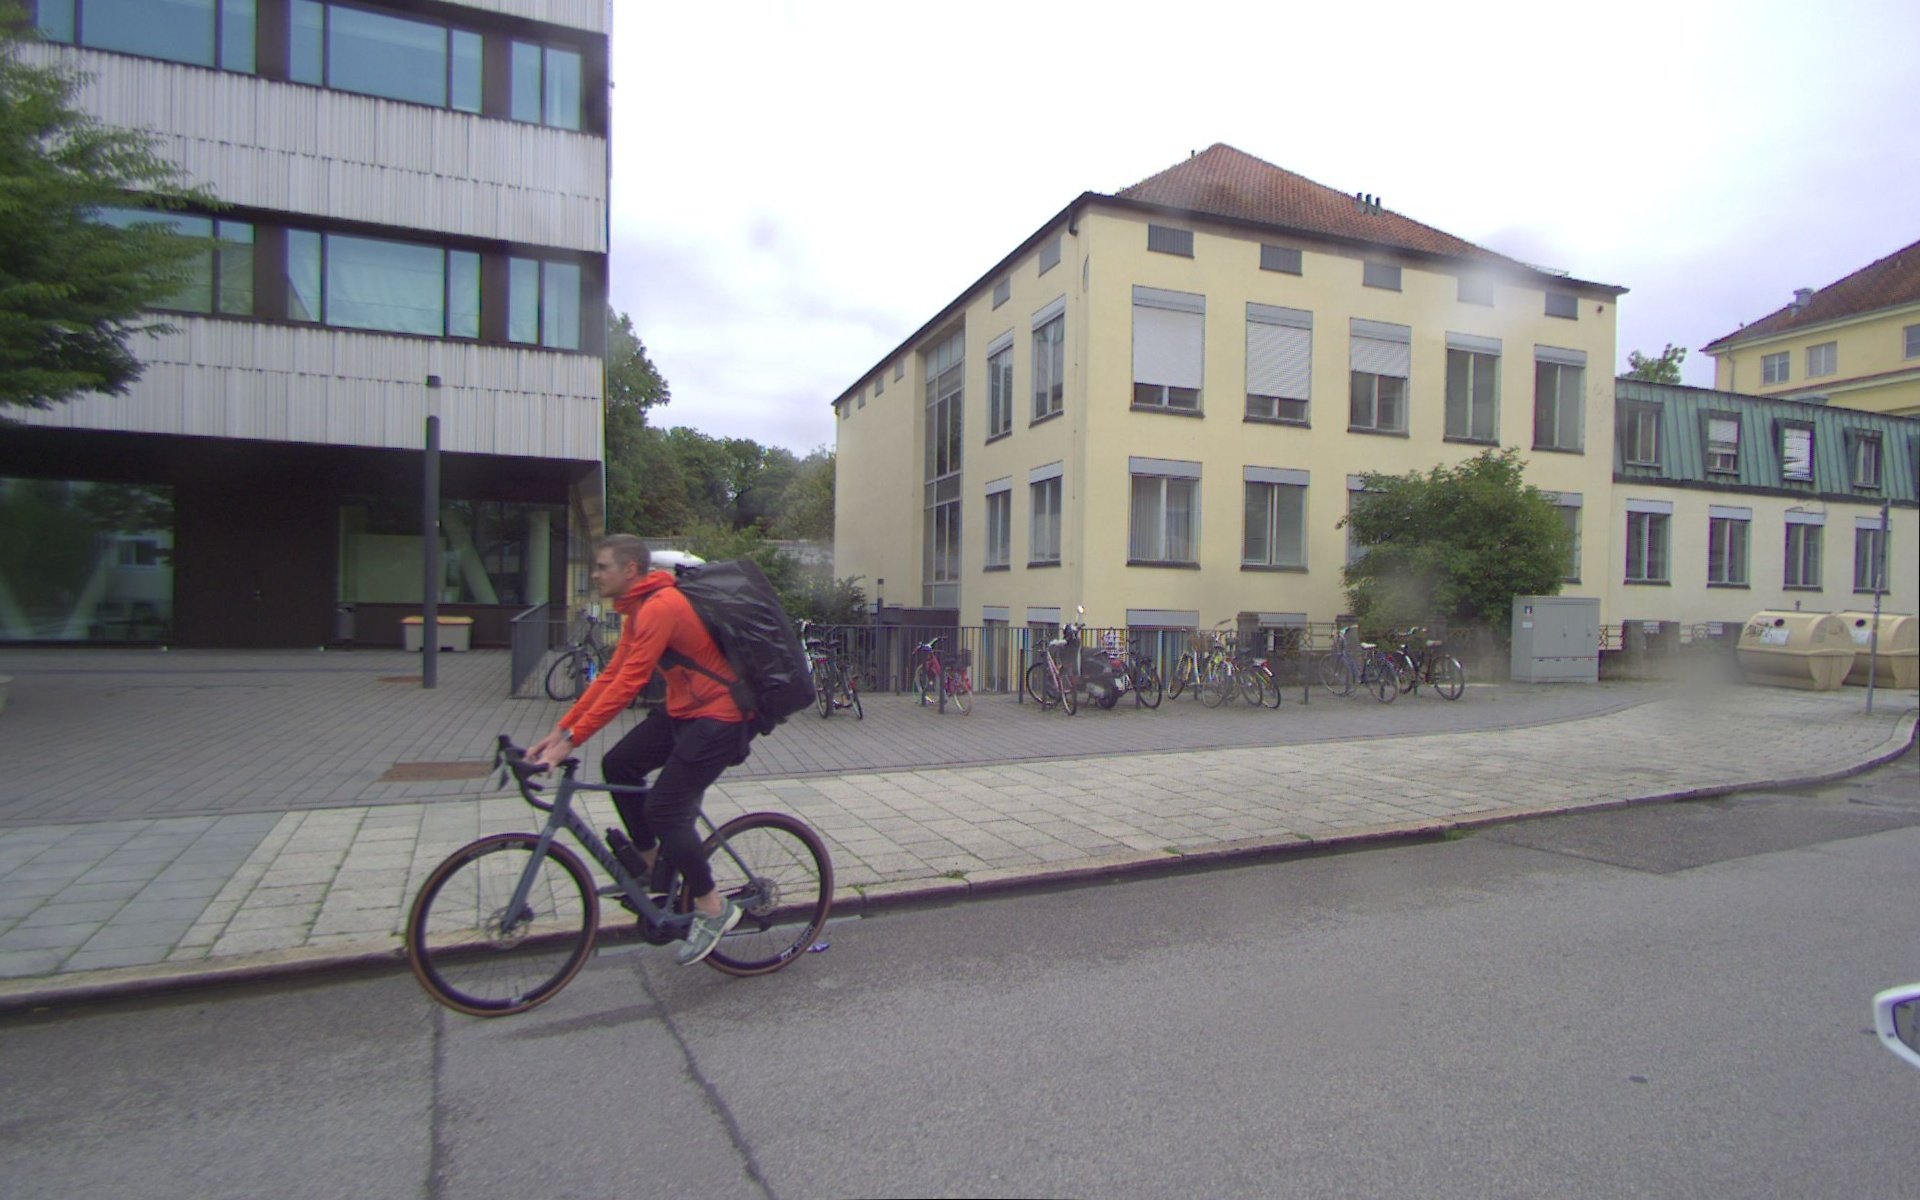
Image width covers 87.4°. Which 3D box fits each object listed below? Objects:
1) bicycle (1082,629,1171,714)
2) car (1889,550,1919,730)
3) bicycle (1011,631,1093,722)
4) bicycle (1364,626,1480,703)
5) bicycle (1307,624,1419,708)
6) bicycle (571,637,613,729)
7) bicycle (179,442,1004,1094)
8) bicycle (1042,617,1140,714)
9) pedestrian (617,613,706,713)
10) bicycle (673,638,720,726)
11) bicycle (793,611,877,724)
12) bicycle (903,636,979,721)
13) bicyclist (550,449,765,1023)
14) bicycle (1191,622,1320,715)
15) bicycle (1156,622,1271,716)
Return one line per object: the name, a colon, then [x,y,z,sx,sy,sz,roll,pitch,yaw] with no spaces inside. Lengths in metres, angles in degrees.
bicycle: [2.390,0.997,14.646,0.531,1.043,1.866,0,2,-16]
car: [17.642,0.692,16.010,5.879,2.751,2.412,2,-1,-28]
bicycle: [1.224,1.000,13.715,0.499,1.047,1.790,0,2,-16]
bicycle: [7.657,1.037,16.744,0.666,1.107,1.904,0,2,-16]
bicycle: [6.346,1.006,15.942,0.563,1.147,1.956,0,2,-16]
bicycle: [-4.280,0.925,11.725,0.432,0.874,1.716,0,2,-19]
bicycle: [-1.265,0.534,4.012,2.805,2.040,0.747,0,-1,-21]
bicycle: [1.822,0.878,14.427,0.417,1.222,2.553,0,0,-16]
pedestrian: [-3.777,0.772,12.676,1.025,1.178,0.716,0,2,-22]
bicycle: [-3.128,0.935,11.870,0.432,0.874,1.370,0,2,-19]
bicycle: [-1.654,0.811,12.967,0.774,1.244,2.104,0,2,-16]
bicycle: [-0.280,1.002,13.324,0.585,0.929,1.674,0,2,-16]
bicyclist: [-1.245,0.495,4.087,0.756,2.040,0.765,0,-3,-21]
bicycle: [4.380,0.974,15.148,0.626,1.156,2.486,0,2,-16]
bicycle: [3.701,0.967,14.918,0.572,1.150,2.309,0,2,-16]
